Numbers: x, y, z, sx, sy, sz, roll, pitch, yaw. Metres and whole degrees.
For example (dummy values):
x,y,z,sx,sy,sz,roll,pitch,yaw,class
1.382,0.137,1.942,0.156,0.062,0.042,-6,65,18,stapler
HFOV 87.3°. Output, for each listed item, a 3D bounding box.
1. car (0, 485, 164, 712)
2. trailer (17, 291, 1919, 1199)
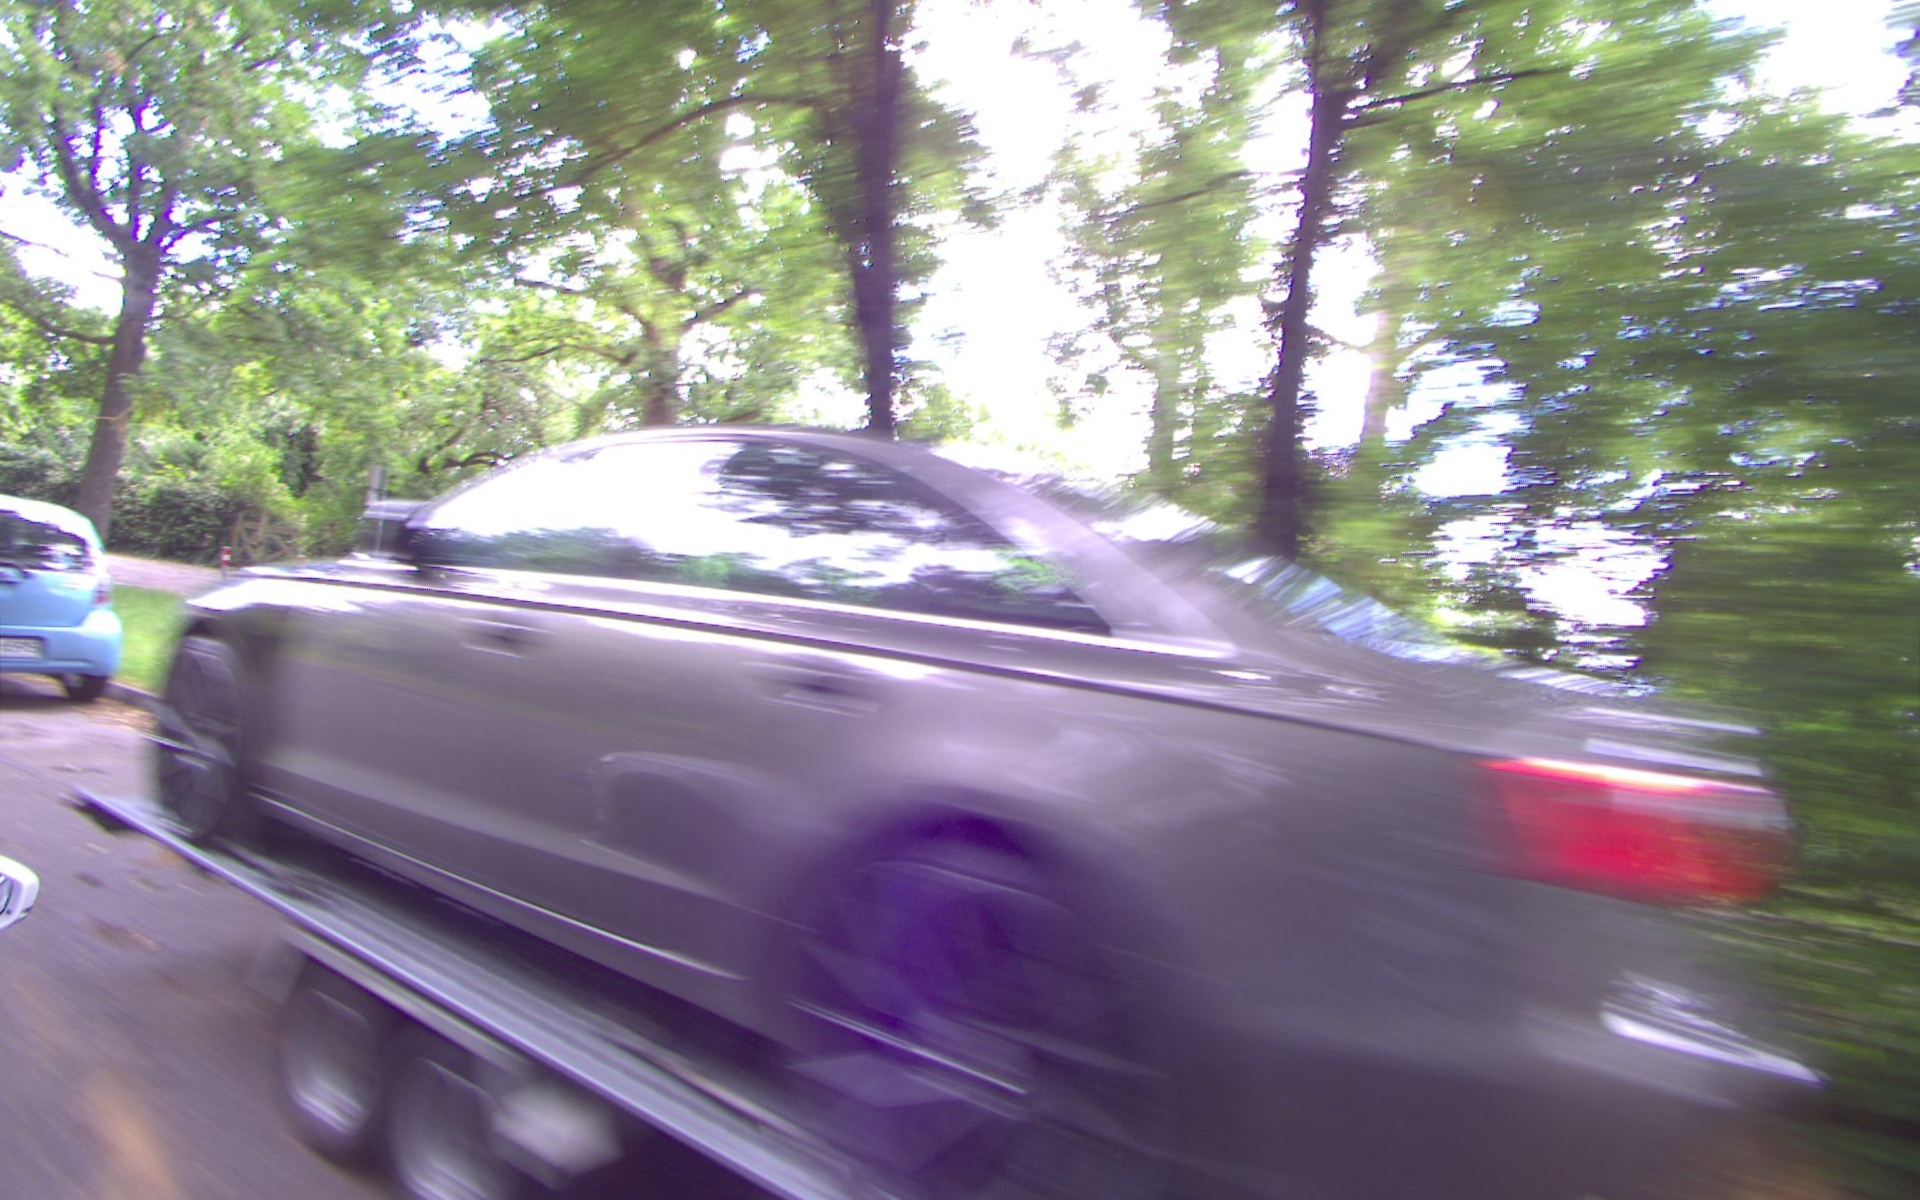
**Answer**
x,y,z,sx,sy,sz,roll,pitch,yaw,class
-8.307,-0.207,7.934,3.770,1.581,1.803,7,-1,30,car
-0.543,0.474,2.992,5.064,1.833,1.982,7,-1,32,trailer
